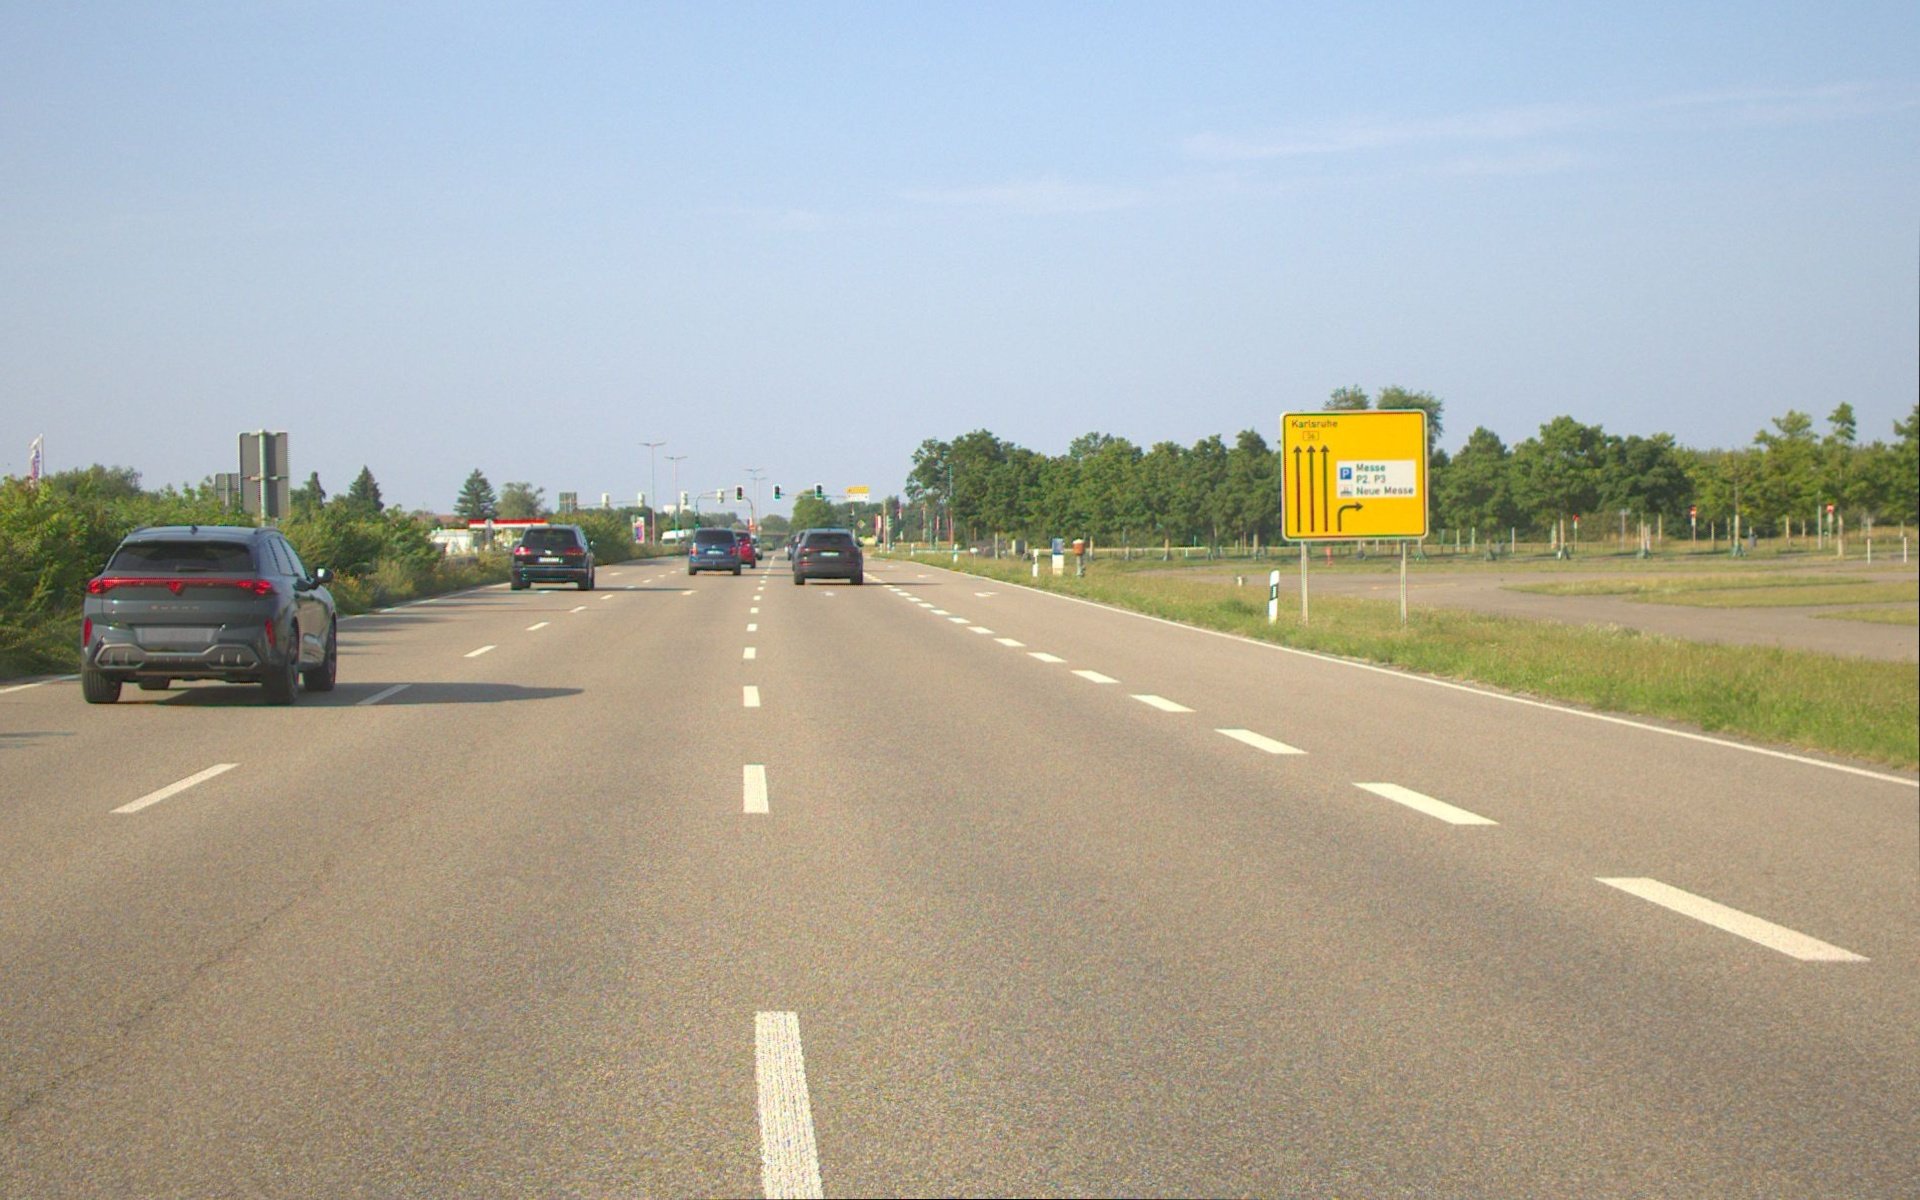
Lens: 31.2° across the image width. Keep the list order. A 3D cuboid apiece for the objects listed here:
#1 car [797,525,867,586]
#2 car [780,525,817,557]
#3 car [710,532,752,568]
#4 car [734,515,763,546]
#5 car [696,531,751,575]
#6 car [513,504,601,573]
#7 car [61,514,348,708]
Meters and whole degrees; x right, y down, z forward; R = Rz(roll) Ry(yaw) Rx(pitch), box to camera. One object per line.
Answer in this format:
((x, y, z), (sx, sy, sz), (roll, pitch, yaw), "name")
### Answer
((-3.740, -1.311, 99.890), (1.932, 1.674, 4.401), (2, 1, -3), "car")
((-9.240, -3.360, 196.791), (1.993, 1.777, 4.000), (1, 0, -1), "car")
((-9.649, -2.110, 145.099), (1.647, 1.458, 3.981), (2, 1, -3), "car")
((-12.080, -3.965, 196.592), (1.645, 1.722, 3.401), (1, 0, -3), "car")
((-8.229, -1.641, 120.011), (1.812, 1.458, 4.401), (2, 1, -3), "car")
((-10.351, -1.589, 88.503), (1.932, 1.674, 4.401), (2, 1, -3), "car")
((-6.865, 0.053, 31.665), (1.845, 1.606, 4.401), (2, 1, -3), "car")
